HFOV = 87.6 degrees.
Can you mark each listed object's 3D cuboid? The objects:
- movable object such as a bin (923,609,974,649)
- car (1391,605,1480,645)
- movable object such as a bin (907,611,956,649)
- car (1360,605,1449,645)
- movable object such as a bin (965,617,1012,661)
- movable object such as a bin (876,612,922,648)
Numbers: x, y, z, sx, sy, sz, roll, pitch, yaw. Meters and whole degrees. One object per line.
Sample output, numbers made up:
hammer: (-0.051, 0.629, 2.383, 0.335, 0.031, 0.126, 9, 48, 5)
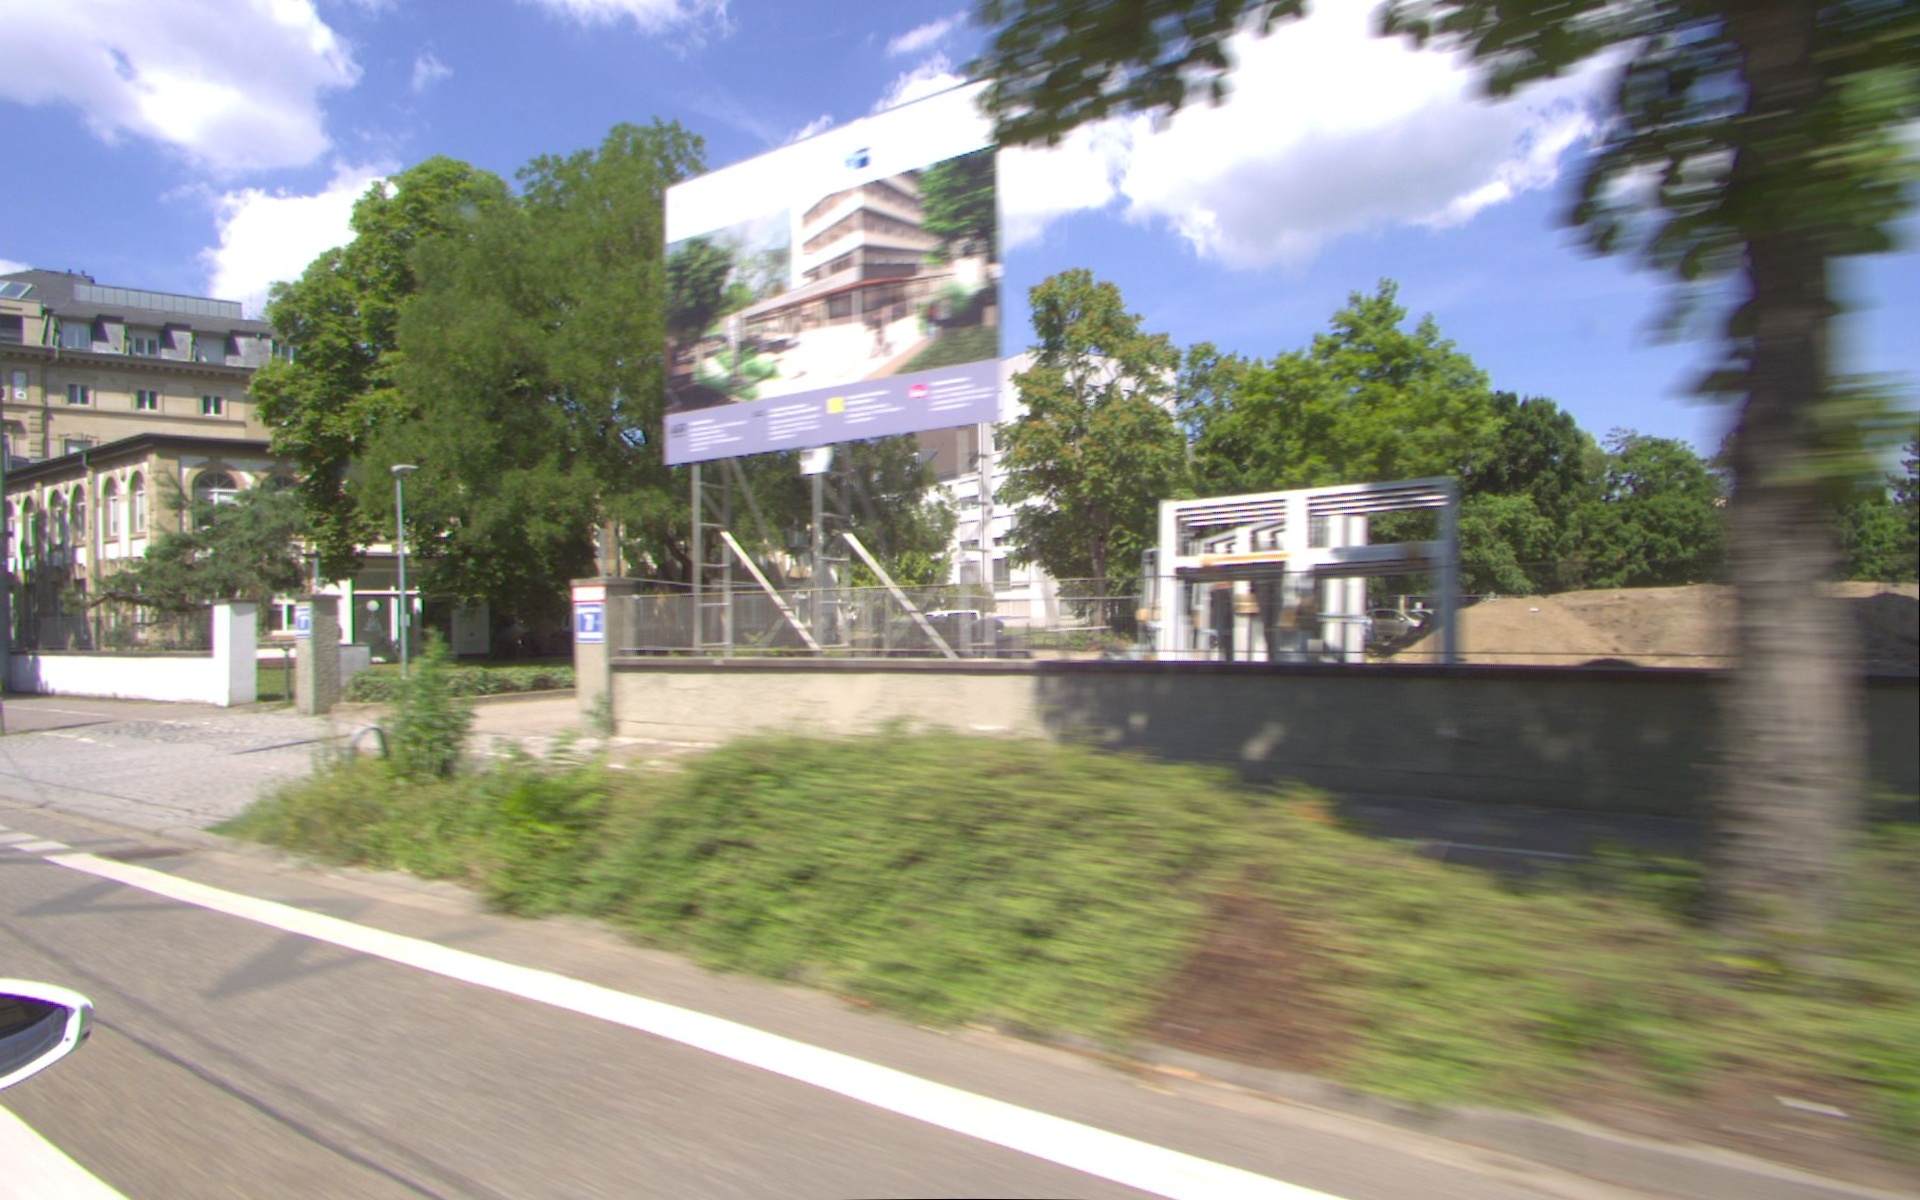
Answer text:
movable object such as a bin: (-0.434, 1.105, 38.433, 1.392, 1.482, 1.379, -1, 0, -38)
car: (25.824, 1.393, 54.495, 1.972, 2.039, 3.980, 1, -2, -31)
movable object such as a bin: (-1.139, 1.180, 39.667, 1.391, 1.482, 1.379, -1, 0, -36)
car: (23.723, 1.343, 53.532, 1.972, 2.039, 3.980, 1, -2, -31)
movable object such as a bin: (0.998, 1.337, 34.947, 1.382, 1.482, 1.388, -1, 0, -9)
movable object such as a bin: (-2.551, 1.261, 42.125, 1.391, 1.482, 1.379, -1, 0, -38)
